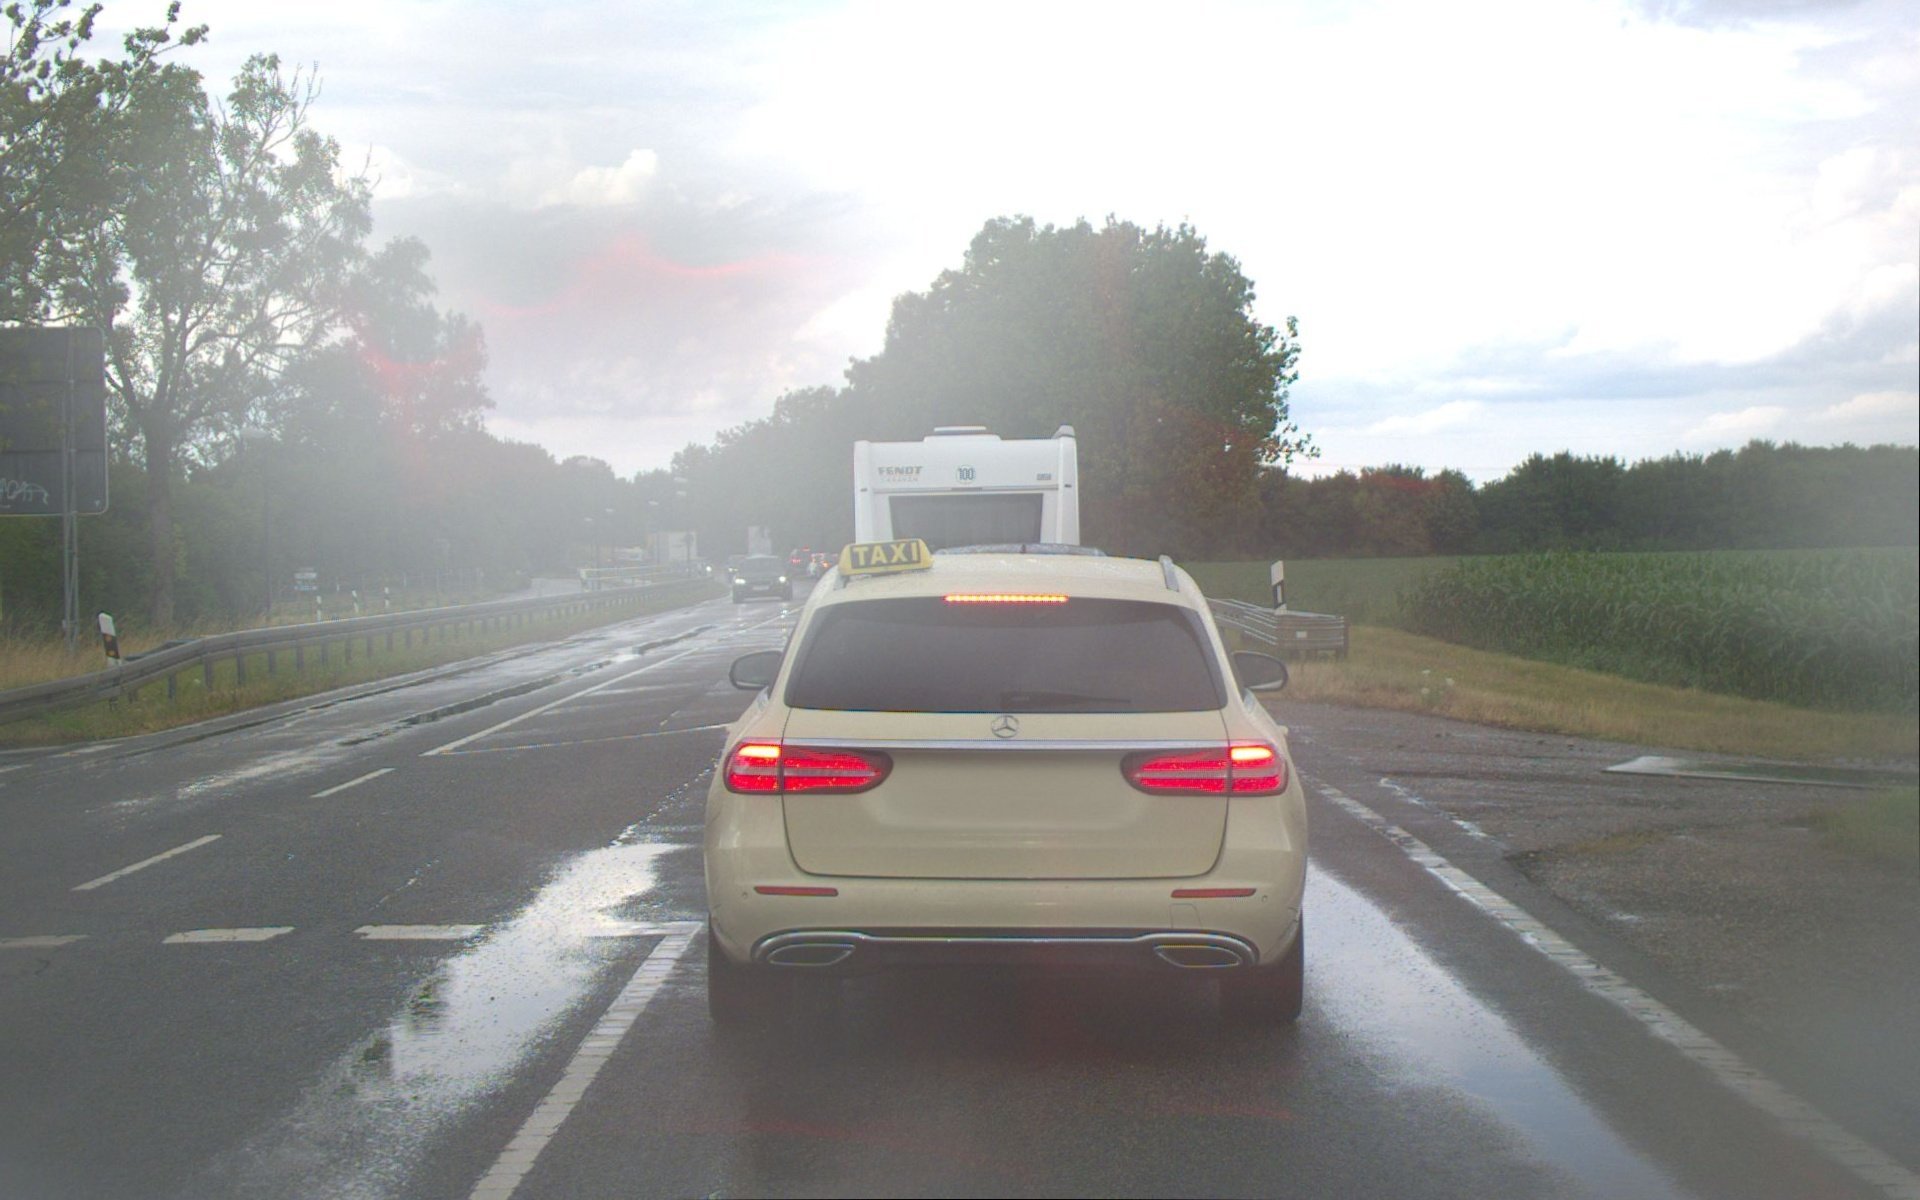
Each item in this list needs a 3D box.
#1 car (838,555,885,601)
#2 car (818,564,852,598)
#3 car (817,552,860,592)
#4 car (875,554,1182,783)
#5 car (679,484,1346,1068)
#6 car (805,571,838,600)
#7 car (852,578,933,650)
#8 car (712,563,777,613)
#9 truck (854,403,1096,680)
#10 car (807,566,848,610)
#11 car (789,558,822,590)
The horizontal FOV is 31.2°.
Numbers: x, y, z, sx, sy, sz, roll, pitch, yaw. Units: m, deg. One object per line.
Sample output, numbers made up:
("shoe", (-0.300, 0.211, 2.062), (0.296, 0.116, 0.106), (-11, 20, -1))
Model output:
("car", (-3.952, -0.898, 138.159), (1.791, 1.771, 3.721), (-1, 1, -1))
("car", (-6.947, -1.073, 191.356), (1.740, 1.853, 3.785), (-1, 1, -1))
("car", (-5.532, -1.294, 156.894), (1.879, 1.755, 3.834), (-1, 1, -1))
("car", (0.431, 0.433, 24.719), (1.993, 1.457, 4.000), (2, 1, -1))
("car", (0.125, 0.463, 11.552), (1.842, 1.612, 4.000), (0, 1, -1))
("car", (-8.154, -0.870, 201.536), (1.748, 1.656, 3.673), (-1, 1, -5))
("car", (-1.807, 0.359, 93.252), (1.915, 1.834, 3.795), (-1, 1, 3))
("car", (-7.004, -0.397, 112.078), (1.828, 1.568, 4.000), (1, 1, 0))
("truck", (0.115, -0.647, 37.972), (2.363, 2.719, 7.314), (-1, 1, -1))
("car", (-6.354, -0.595, 165.525), (1.852, 2.007, 3.811), (-1, 1, -1))
("car", (-9.434, -1.610, 209.420), (1.895, 1.888, 3.844), (-1, 1, -3))
